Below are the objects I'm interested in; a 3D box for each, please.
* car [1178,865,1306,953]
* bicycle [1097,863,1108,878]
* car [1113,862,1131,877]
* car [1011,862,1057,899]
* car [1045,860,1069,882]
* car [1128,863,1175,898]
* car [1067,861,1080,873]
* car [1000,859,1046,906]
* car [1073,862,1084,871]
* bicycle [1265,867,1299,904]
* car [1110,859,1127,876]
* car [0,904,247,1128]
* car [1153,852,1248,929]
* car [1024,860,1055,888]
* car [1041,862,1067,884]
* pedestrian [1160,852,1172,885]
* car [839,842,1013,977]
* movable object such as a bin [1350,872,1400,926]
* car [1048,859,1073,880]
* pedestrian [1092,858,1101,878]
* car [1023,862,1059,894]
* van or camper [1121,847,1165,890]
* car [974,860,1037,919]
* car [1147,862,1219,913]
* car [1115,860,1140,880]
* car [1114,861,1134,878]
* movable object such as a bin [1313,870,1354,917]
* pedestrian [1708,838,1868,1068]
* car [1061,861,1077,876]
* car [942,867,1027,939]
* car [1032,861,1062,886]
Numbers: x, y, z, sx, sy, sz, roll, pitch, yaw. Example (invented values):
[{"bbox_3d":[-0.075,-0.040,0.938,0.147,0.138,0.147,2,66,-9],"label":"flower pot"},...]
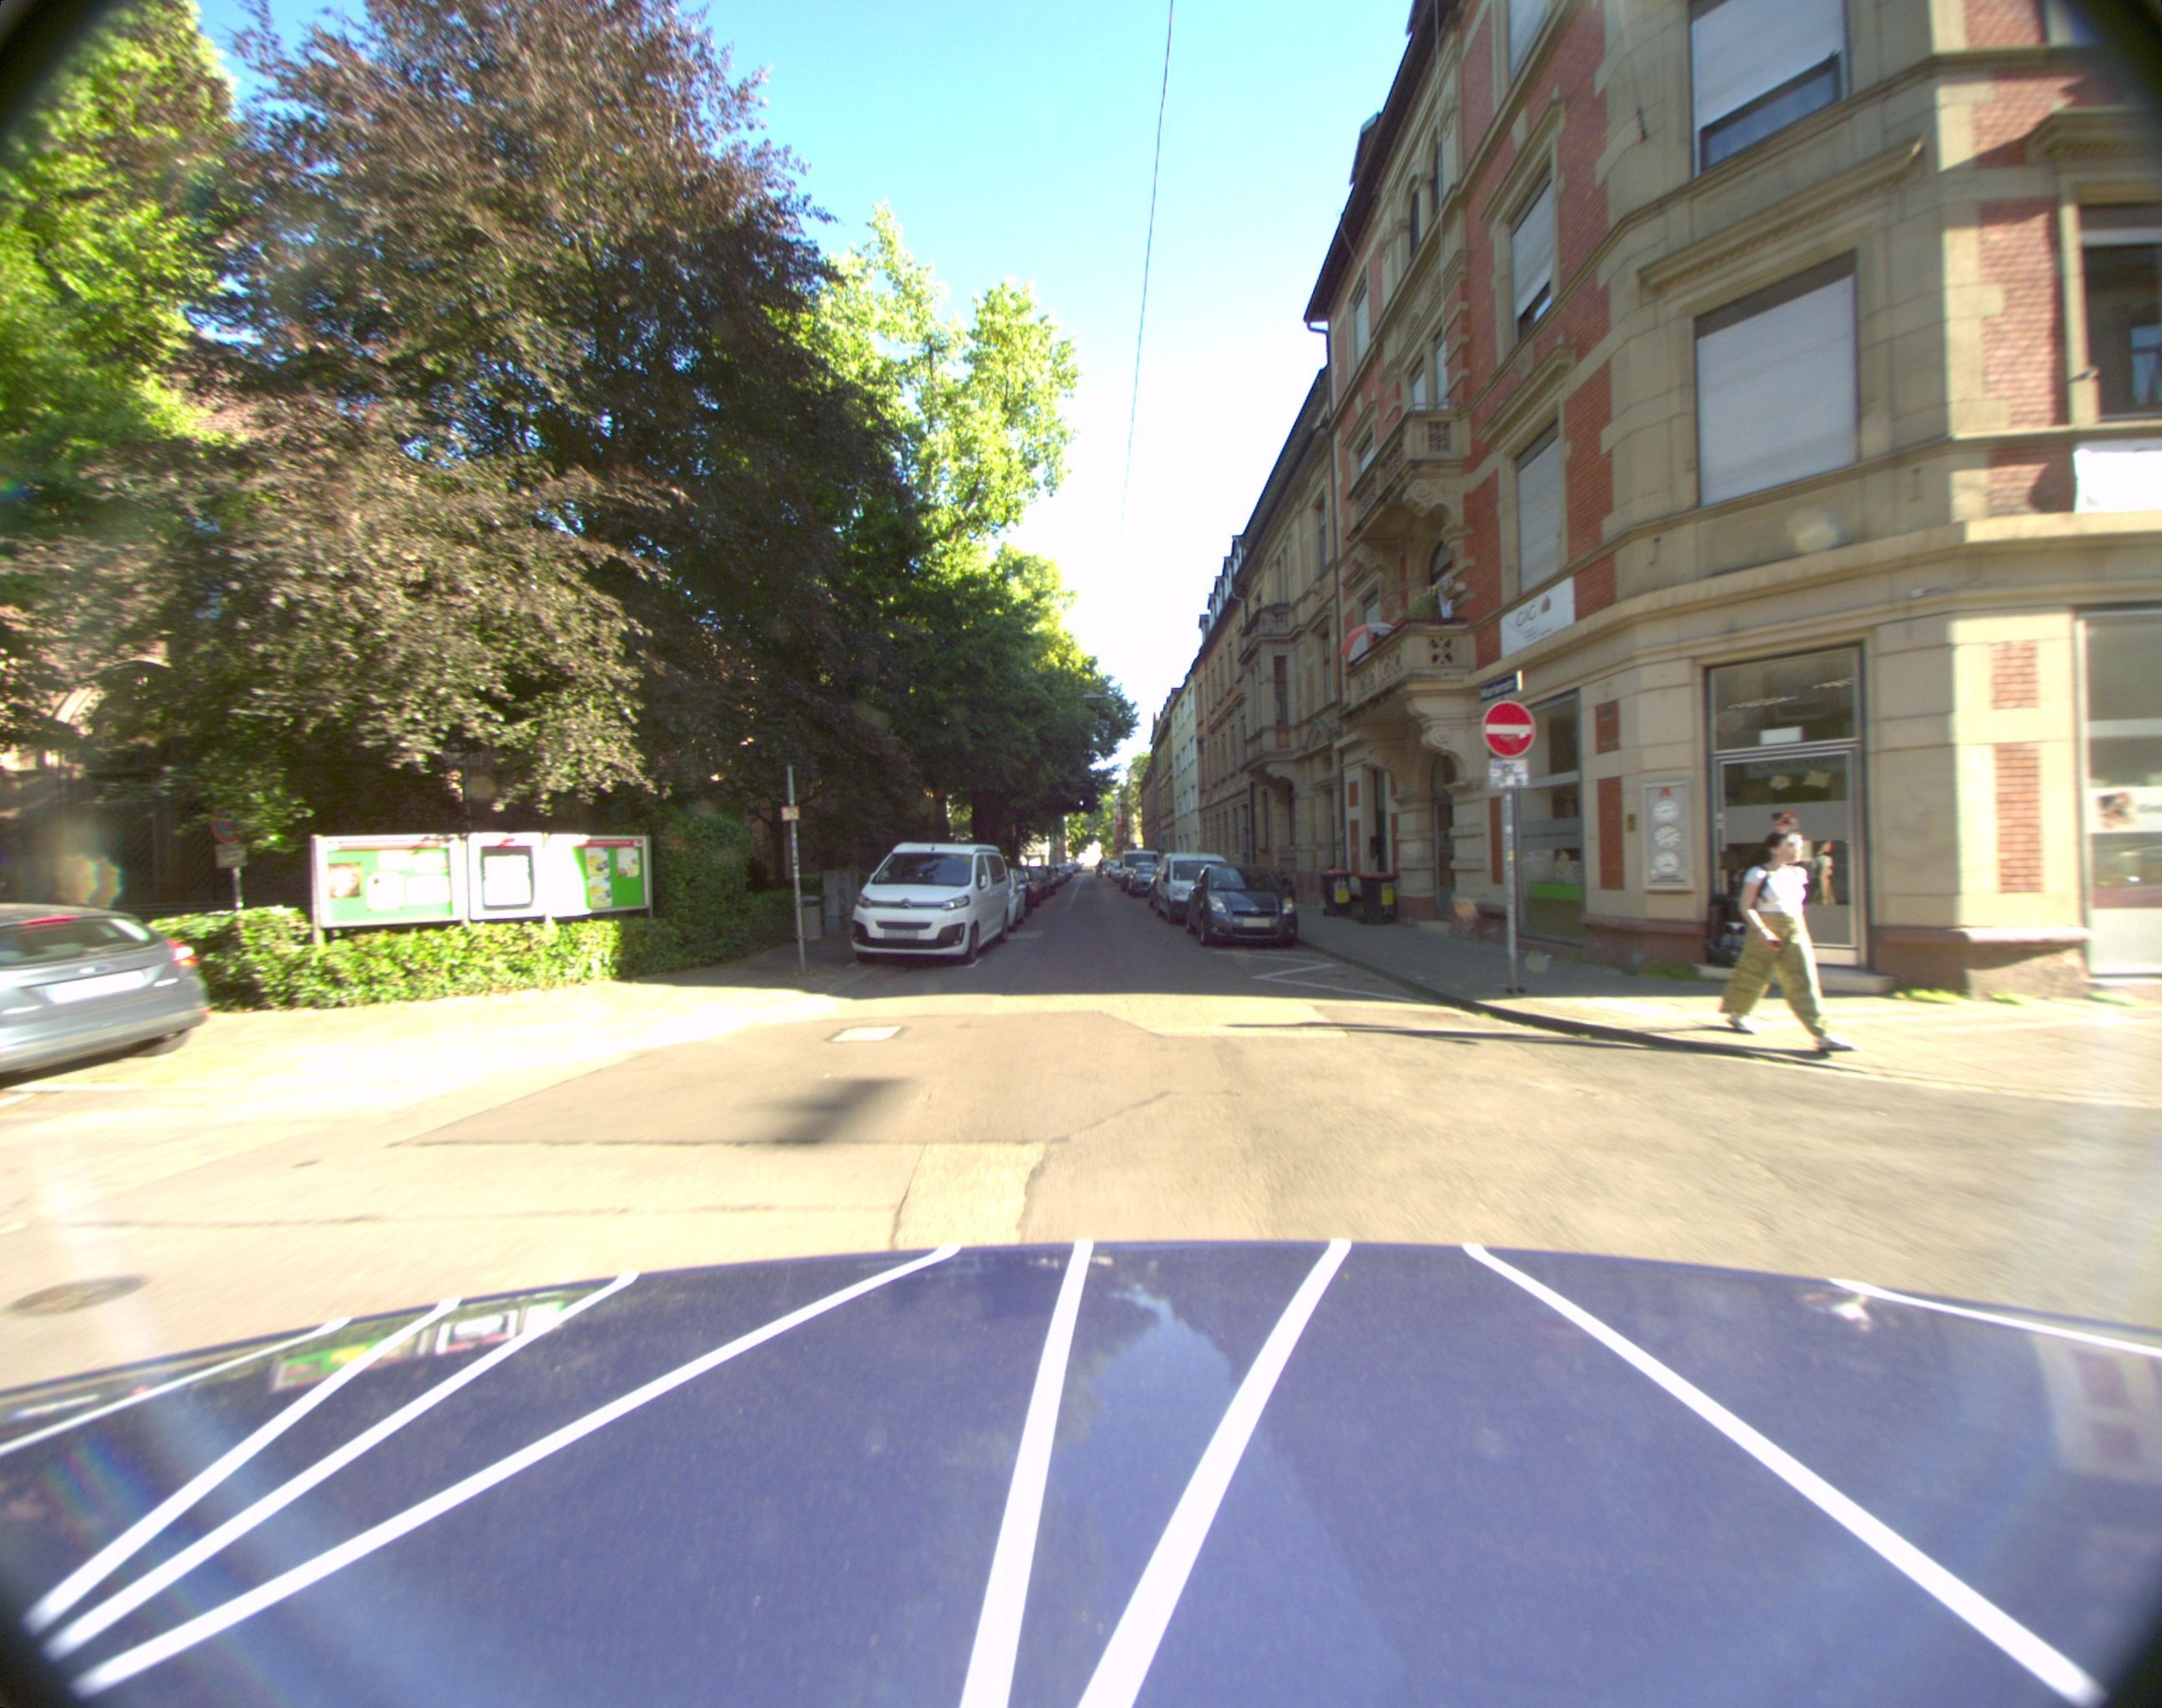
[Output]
[{"bbox_3d":[2.987,0.963,14.895,1.697,1.472,3.973,0,0,0],"label":"car"},{"bbox_3d":[1.980,1.487,68.863,0.572,1.236,1.843,-4,0,-9],"label":"bicycle"},{"bbox_3d":[3.904,1.470,72.836,1.713,1.408,3.803,1,0,2],"label":"car"},{"bbox_3d":[-2.137,1.178,35.405,1.622,1.478,3.777,3,0,3],"label":"car"},{"bbox_3d":[-1.810,1.273,58.731,1.603,1.496,3.720,3,0,1],"label":"car"},{"bbox_3d":[3.146,1.159,34.809,1.771,1.505,4.193,0,0,0],"label":"car"},{"bbox_3d":[-1.121,1.937,114.422,1.845,1.643,4.000,0,0,1],"label":"car"},{"bbox_3d":[-2.240,1.087,30.175,1.623,1.615,3.862,3,0,-2],"label":"car"},{"bbox_3d":[-0.486,2.312,145.916,1.998,1.659,4.001,-2,0,2],"label":"car"},{"bbox_3d":[6.139,0.949,23.274,0.572,1.035,1.546,-4,0,1],"label":"bicycle"},{"bbox_3d":[3.899,1.405,79.259,1.713,1.664,4.278,1,0,2],"label":"car"},{"bbox_3d":[-9.568,1.276,6.026,3.928,1.431,1.798,-2,2,2],"label":"car"},{"bbox_3d":[3.024,0.867,20.110,1.835,1.801,4.572,0,0,1],"label":"car"},{"bbox_3d":[-2.435,1.164,45.553,1.603,1.496,3.627,3,0,0],"label":"car"},{"bbox_3d":[-1.930,1.361,54.497,1.603,1.462,3.869,1,0,1],"label":"car"},{"bbox_3d":[4.887,0.830,43.711,0.580,1.872,0.904,-2,1,1],"label":"pedestrian"},{"bbox_3d":[-2.520,0.833,13.673,1.919,1.986,4.793,0,0,3],"label":"car"},{"bbox_3d":[6.007,0.906,15.537,0.639,1.035,0.856,-4,0,1],"label":"movable object such as a bin"},{"bbox_3d":[-1.665,1.277,63.094,1.668,1.577,4.101,3,0,3],"label":"car"},{"bbox_3d":[1.411,1.243,68.777,0.489,1.792,1.114,-4,0,-9],"label":"pedestrian"},{"bbox_3d":[-2.101,1.205,39.942,1.680,1.433,4.693,3,0,-3],"label":"car"},{"bbox_3d":[3.284,0.744,41.112,2.182,2.135,5.155,0,0,2],"label":"van or camper"},{"bbox_3d":[-2.355,1.056,24.593,1.744,1.594,4.262,3,0,-3],"label":"car"},{"bbox_3d":[3.268,1.046,25.071,1.697,1.505,3.972,0,0,-2],"label":"car"},{"bbox_3d":[3.515,1.210,57.894,1.735,1.447,4.522,0,0,1],"label":"car"},{"bbox_3d":[3.839,1.388,68.420,1.713,1.408,3.803,1,0,2],"label":"car"},{"bbox_3d":[5.922,0.913,17.839,0.639,1.035,0.856,-4,0,1],"label":"movable object such as a bin"},{"bbox_3d":[5.375,0.710,5.815,0.549,1.635,0.717,-2,2,1],"label":"pedestrian"},{"bbox_3d":[-1.352,1.598,85.222,1.713,1.511,3.831,0,0,0],"label":"car"},{"bbox_3d":[-2.331,1.144,19.221,1.723,1.561,3.828,-2,0,-2],"label":"car"},{"bbox_3d":[-2.193,1.236,49.548,1.603,1.459,3.564,3,0,1],"label":"car"}]
